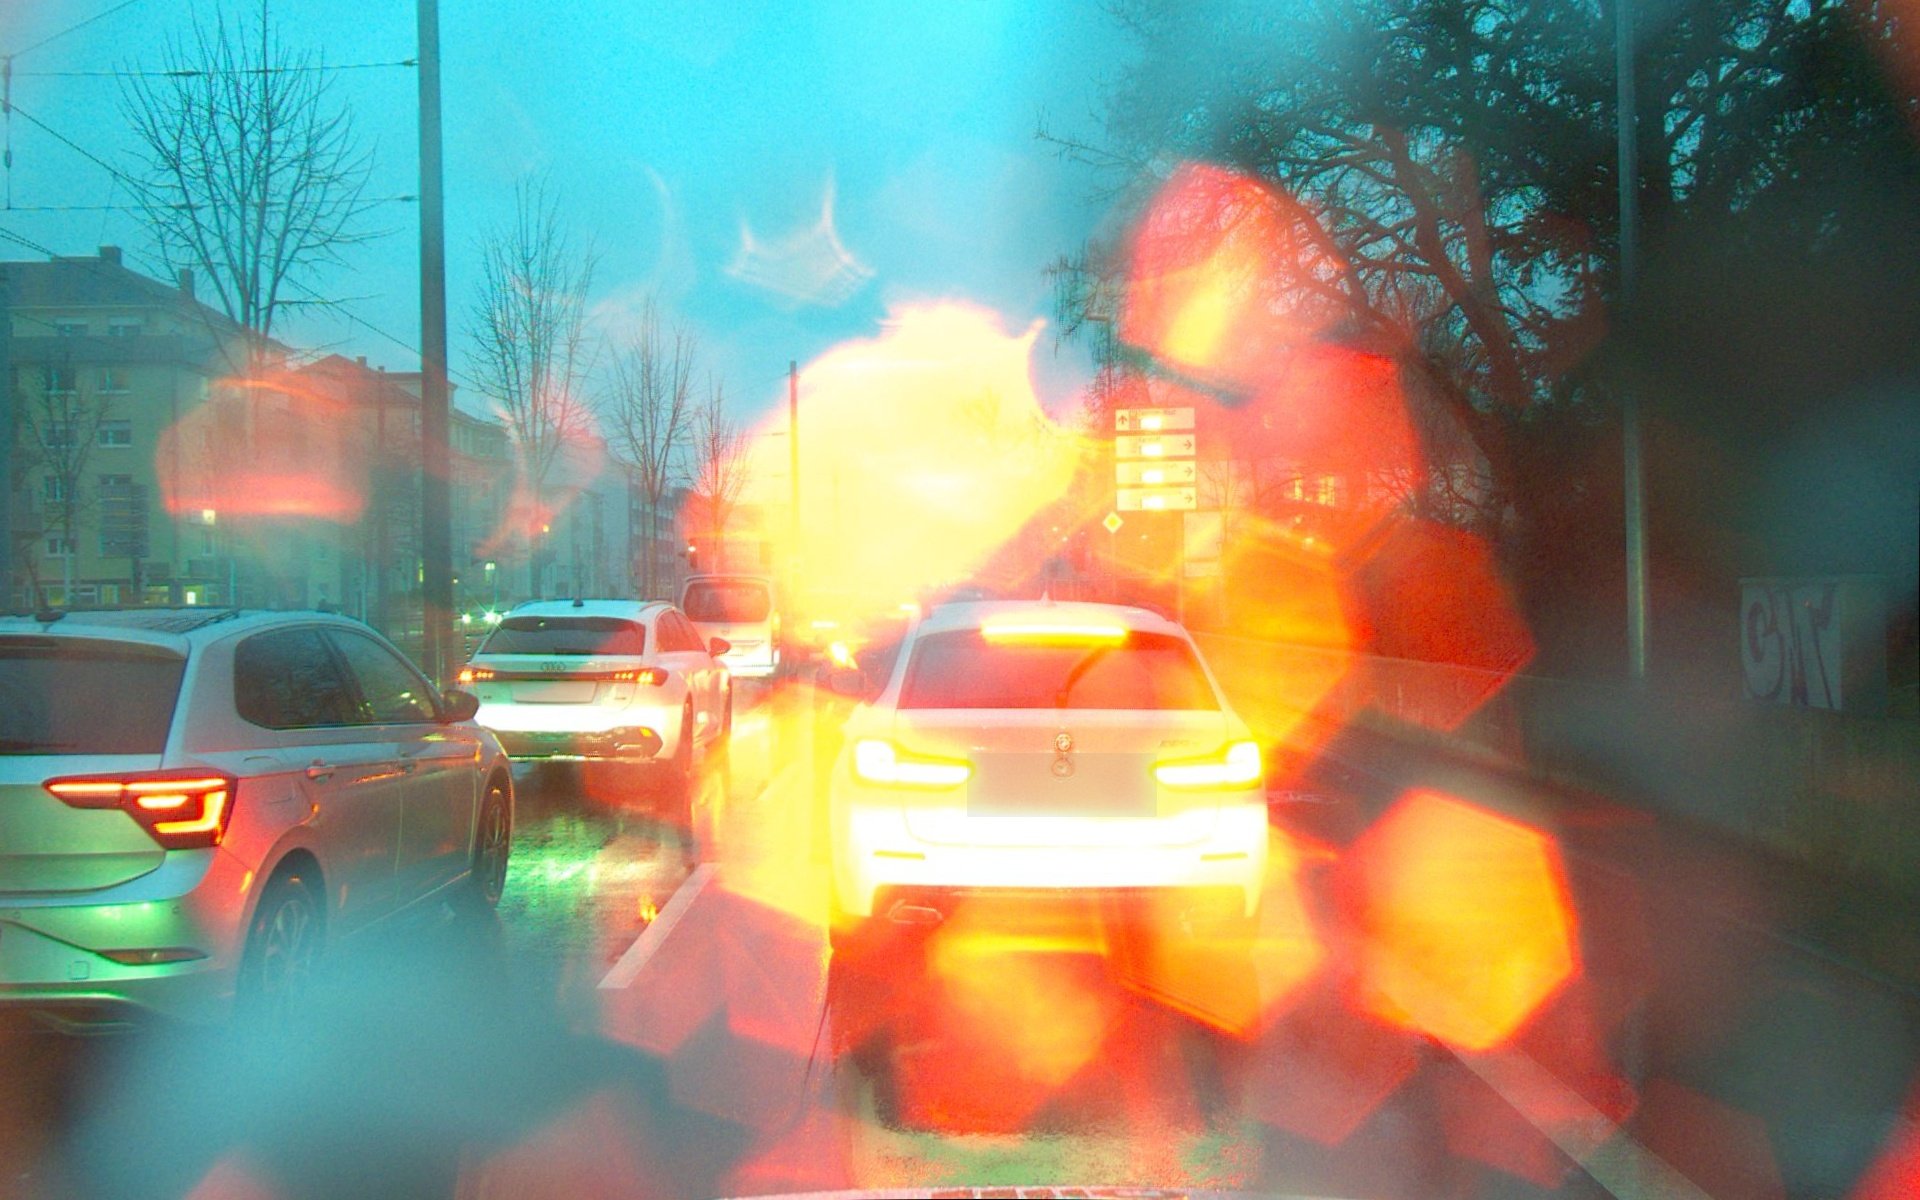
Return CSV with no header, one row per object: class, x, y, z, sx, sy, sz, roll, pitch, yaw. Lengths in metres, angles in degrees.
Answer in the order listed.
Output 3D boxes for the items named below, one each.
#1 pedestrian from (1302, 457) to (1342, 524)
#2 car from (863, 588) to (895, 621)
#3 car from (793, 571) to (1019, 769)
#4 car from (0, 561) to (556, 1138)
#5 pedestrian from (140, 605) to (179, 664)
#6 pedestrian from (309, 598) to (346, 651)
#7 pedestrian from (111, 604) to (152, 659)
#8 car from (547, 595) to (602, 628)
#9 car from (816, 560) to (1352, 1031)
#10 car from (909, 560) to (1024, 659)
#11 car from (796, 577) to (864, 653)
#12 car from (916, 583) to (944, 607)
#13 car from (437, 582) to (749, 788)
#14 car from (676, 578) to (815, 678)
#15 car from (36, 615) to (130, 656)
pedestrian,11.355,-3.429,51.903,0.940,2.049,1.007,-1,0,-4
car,-3.443,0.176,69.967,1.336,1.339,2.714,1,0,-3
car,-0.455,0.550,14.987,1.763,1.537,3.894,-1,0,-1
car,-2.867,0.662,6.463,1.659,1.560,3.999,0,0,-1
pedestrian,-28.650,1.231,59.213,1.060,2.049,0.994,-1,0,-37
pedestrian,-24.665,0.943,64.462,1.253,2.049,1.000,-1,0,-25
pedestrian,-31.321,1.192,62.521,0.940,2.049,1.006,-1,0,27
car,-19.626,0.592,84.282,1.953,1.630,3.998,1,0,-2
car,0.394,0.657,8.173,1.825,1.583,4.937,-1,0,-1
car,0.066,0.132,26.660,1.702,1.444,3.702,-1,0,-1
car,-2.992,0.339,38.289,1.476,1.681,2.842,1,0,-4
car,-1.830,-0.306,101.779,1.702,1.444,4.145,-1,0,-1
car,-3.021,0.619,14.594,1.762,1.492,4.585,-1,0,-1
car,-3.351,0.404,26.584,1.702,1.444,4.393,-1,0,-1
car,-43.733,1.754,82.516,3.679,1.976,1.838,1,0,-9
